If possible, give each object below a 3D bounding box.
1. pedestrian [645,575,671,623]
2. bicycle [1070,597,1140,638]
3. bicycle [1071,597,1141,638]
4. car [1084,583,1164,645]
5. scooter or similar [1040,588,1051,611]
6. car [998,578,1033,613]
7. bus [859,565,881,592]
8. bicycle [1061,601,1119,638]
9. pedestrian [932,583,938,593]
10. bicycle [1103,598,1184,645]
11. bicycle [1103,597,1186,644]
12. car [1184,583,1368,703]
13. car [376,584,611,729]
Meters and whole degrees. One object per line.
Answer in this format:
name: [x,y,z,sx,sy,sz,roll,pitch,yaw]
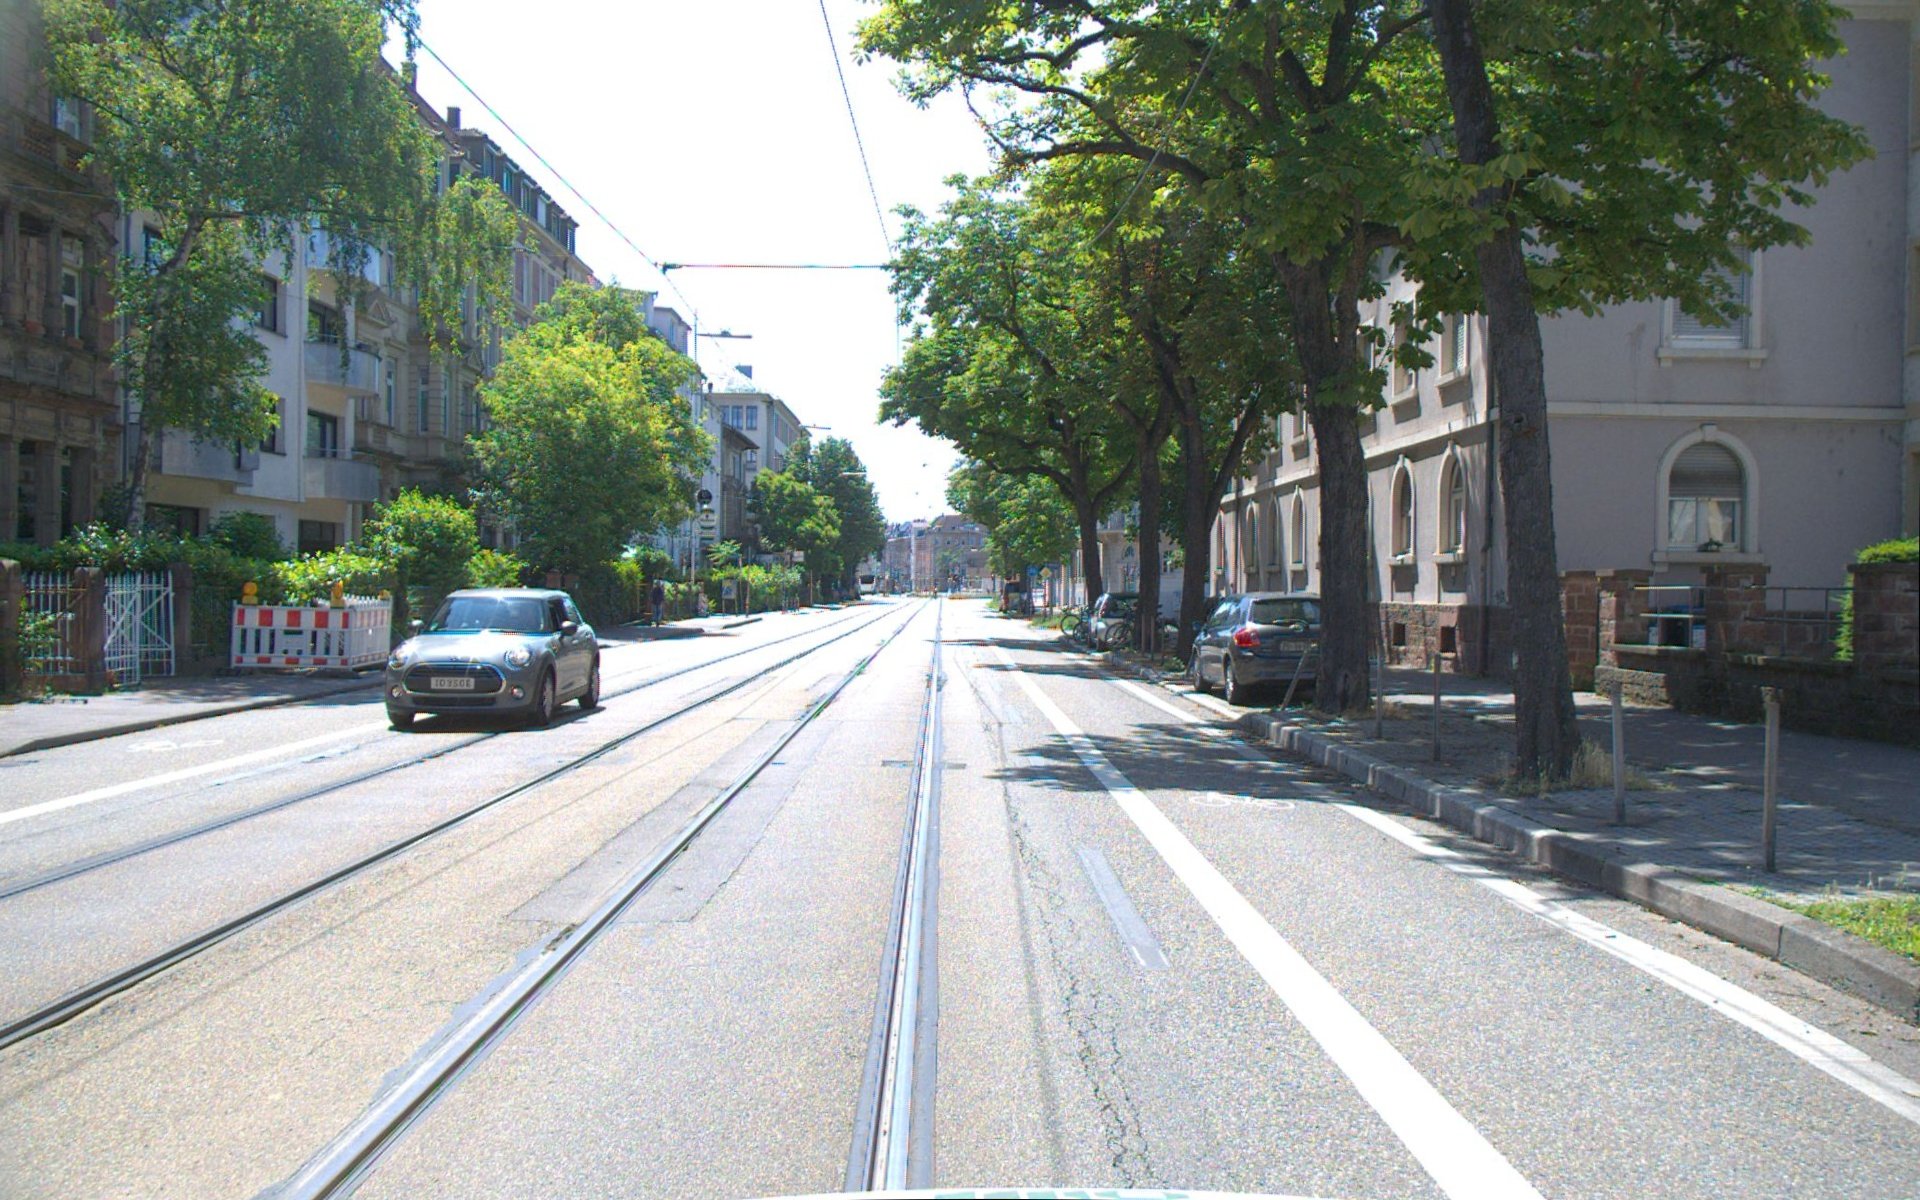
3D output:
pedestrian: [-10.574,-0.037,57.890,0.735,1.657,0.833,0,0,3]
bicycle: [4.198,0.500,48.021,1.968,1.133,0.640,-1,-1,1]
bicycle: [4.179,0.505,47.422,1.922,1.133,0.599,-1,-1,1]
car: [4.201,0.341,42.872,1.589,1.473,3.809,-3,0,-1]
scooter or similar: [4.616,-0.023,89.308,0.491,1.251,1.573,0,0,-1]
car: [3.375,-0.304,101.306,1.952,2.071,4.696,0,1,-1]
bus: [-14.139,-3.363,259.514,2.871,4.005,11.272,2,0,-1]
bicycle: [4.113,0.625,52.404,1.779,1.133,0.493,-1,-1,-2]
pedestrian: [-2.987,-1.462,200.046,0.485,1.193,0.585,-1,0,-26]
bicycle: [4.247,0.488,38.296,1.849,1.070,0.538,0,0,6]
bicycle: [4.320,0.475,38.730,1.921,1.082,0.599,0,0,6]
car: [4.526,0.556,24.311,1.738,1.527,4.304,-2,1,-2]
car: [-5.190,0.563,18.874,1.652,1.480,3.748,0,1,-1]
